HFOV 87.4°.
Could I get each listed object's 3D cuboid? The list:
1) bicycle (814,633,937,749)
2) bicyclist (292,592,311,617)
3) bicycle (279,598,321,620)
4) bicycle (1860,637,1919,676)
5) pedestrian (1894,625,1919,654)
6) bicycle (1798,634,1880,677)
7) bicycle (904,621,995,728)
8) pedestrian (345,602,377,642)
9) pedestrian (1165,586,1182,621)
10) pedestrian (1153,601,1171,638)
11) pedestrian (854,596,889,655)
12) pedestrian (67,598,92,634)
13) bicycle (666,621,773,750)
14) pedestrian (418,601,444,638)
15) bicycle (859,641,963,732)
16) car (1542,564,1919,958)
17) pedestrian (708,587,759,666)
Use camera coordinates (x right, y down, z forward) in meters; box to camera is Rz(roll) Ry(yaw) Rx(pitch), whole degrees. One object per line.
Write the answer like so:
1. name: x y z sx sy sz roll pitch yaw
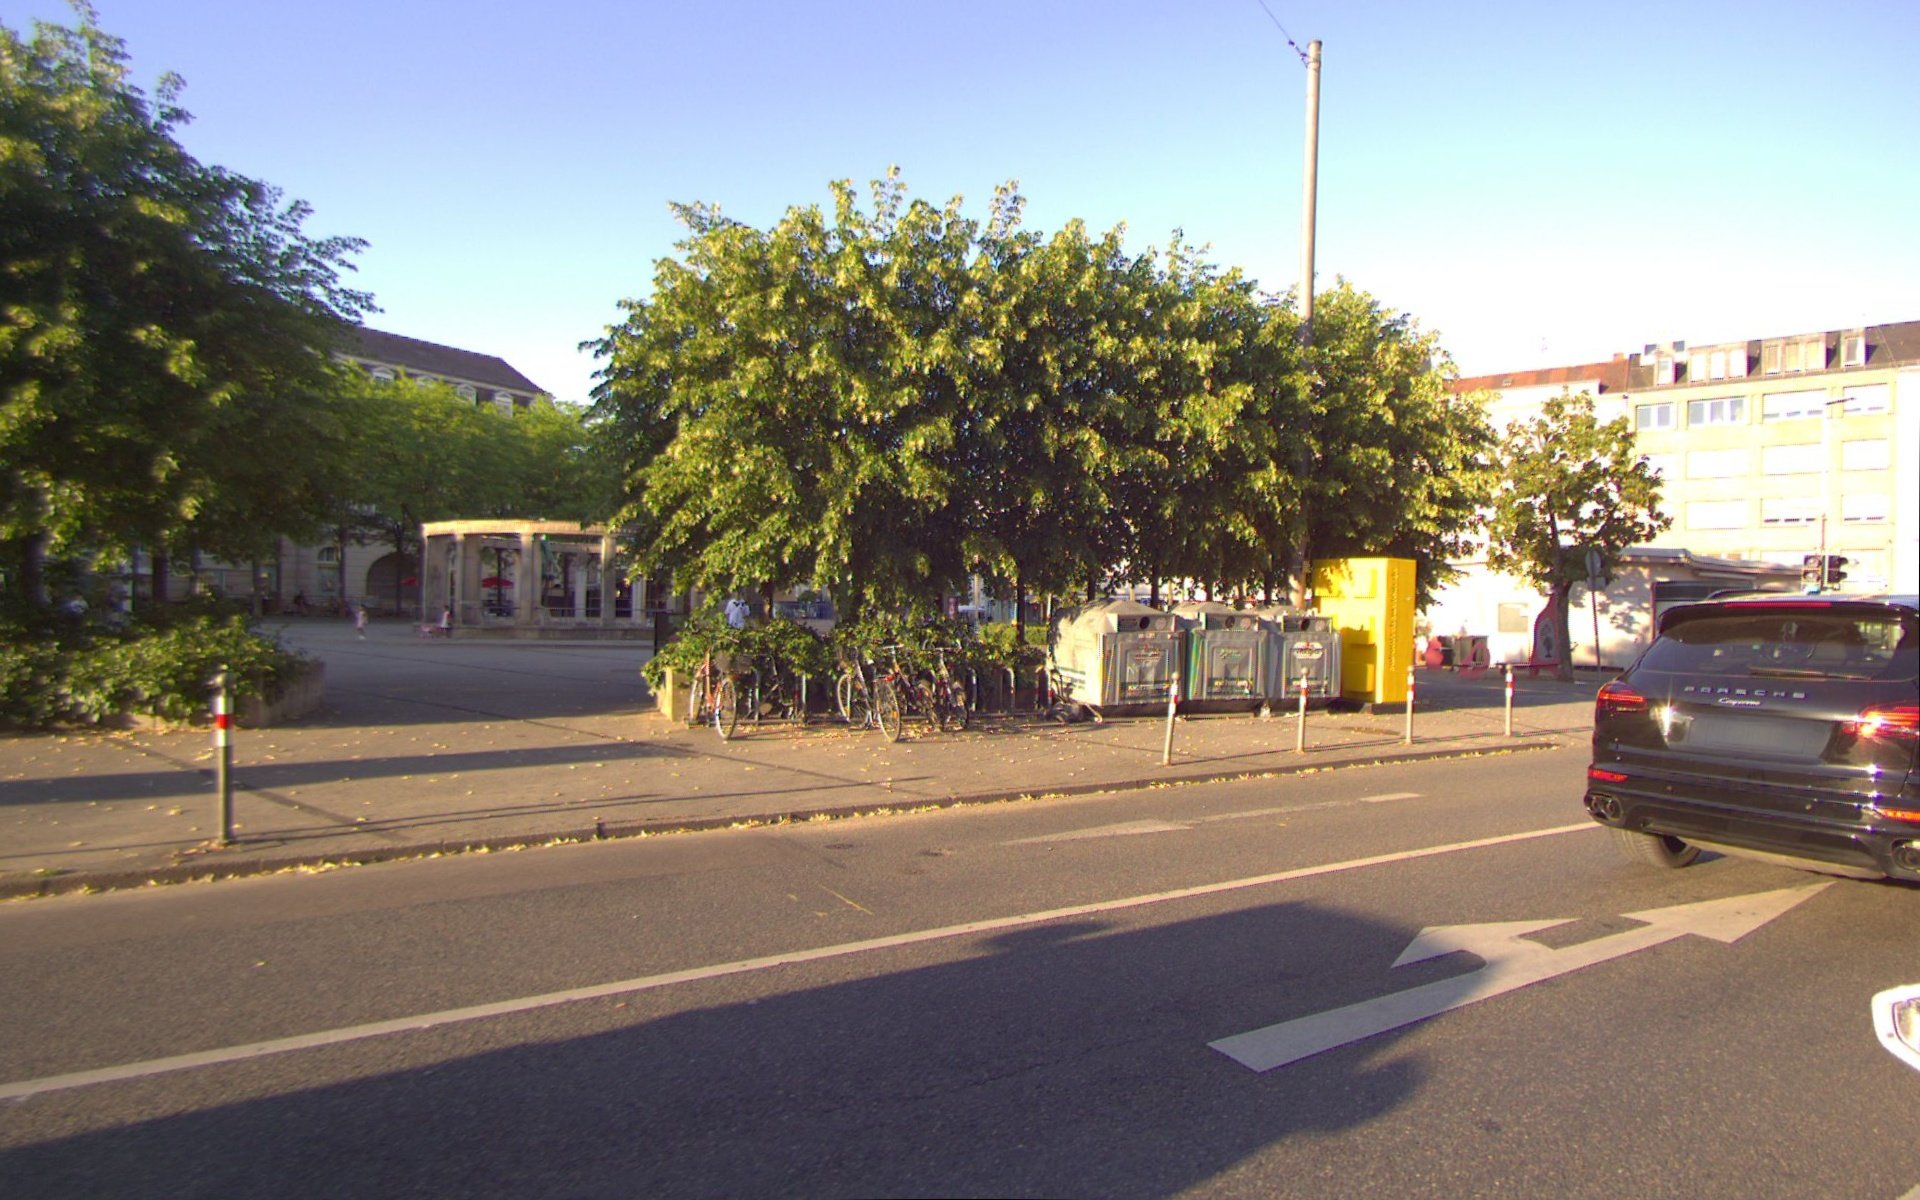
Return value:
1. bicycle: -1.041 1.011 11.837 0.543 1.150 2.013 1 1 -33
2. bicyclist: -39.768 0.254 60.641 0.630 1.467 0.768 2 0 37
3. bicycle: -39.789 0.538 60.618 0.571 1.277 2.023 2 0 36
4. bicycle: 32.621 1.956 34.508 0.777 1.273 2.434 1 -1 -28
5. pedestrian: 53.489 2.218 56.709 0.933 1.558 0.906 1 -1 35
6. bicycle: 27.633 1.732 31.603 0.625 1.273 1.846 1 -1 -28
7. bicycle: -0.169 0.942 13.212 0.440 1.269 1.578 1 1 -31
8. pedestrian: -16.356 0.590 27.440 0.575 1.078 0.462 0 2 -1
9. pedestrian: 12.687 0.238 59.676 0.650 2.040 0.809 2 0 35
10. pedestrian: 11.595 1.116 57.563 0.651 2.040 0.809 2 0 36
11. pedestrian: -2.532 0.728 28.836 0.824 1.642 0.705 2 0 9
12. pedestrian: -27.494 0.497 31.363 0.524 1.078 0.457 -1 2 -36
13. bicycle: -2.812 0.926 11.591 0.543 1.269 2.013 1 1 -33
14. pedestrian: -15.911 0.587 30.212 0.519 1.078 0.462 0 2 -1
15. bicycle: -0.654 1.063 12.815 0.543 0.992 1.663 1 1 -33
16. car: 5.858 0.761 6.179 4.506 1.737 1.940 1 -1 -29
17. pedestrian: -5.191 0.606 23.033 0.878 1.748 0.736 2 0 8
